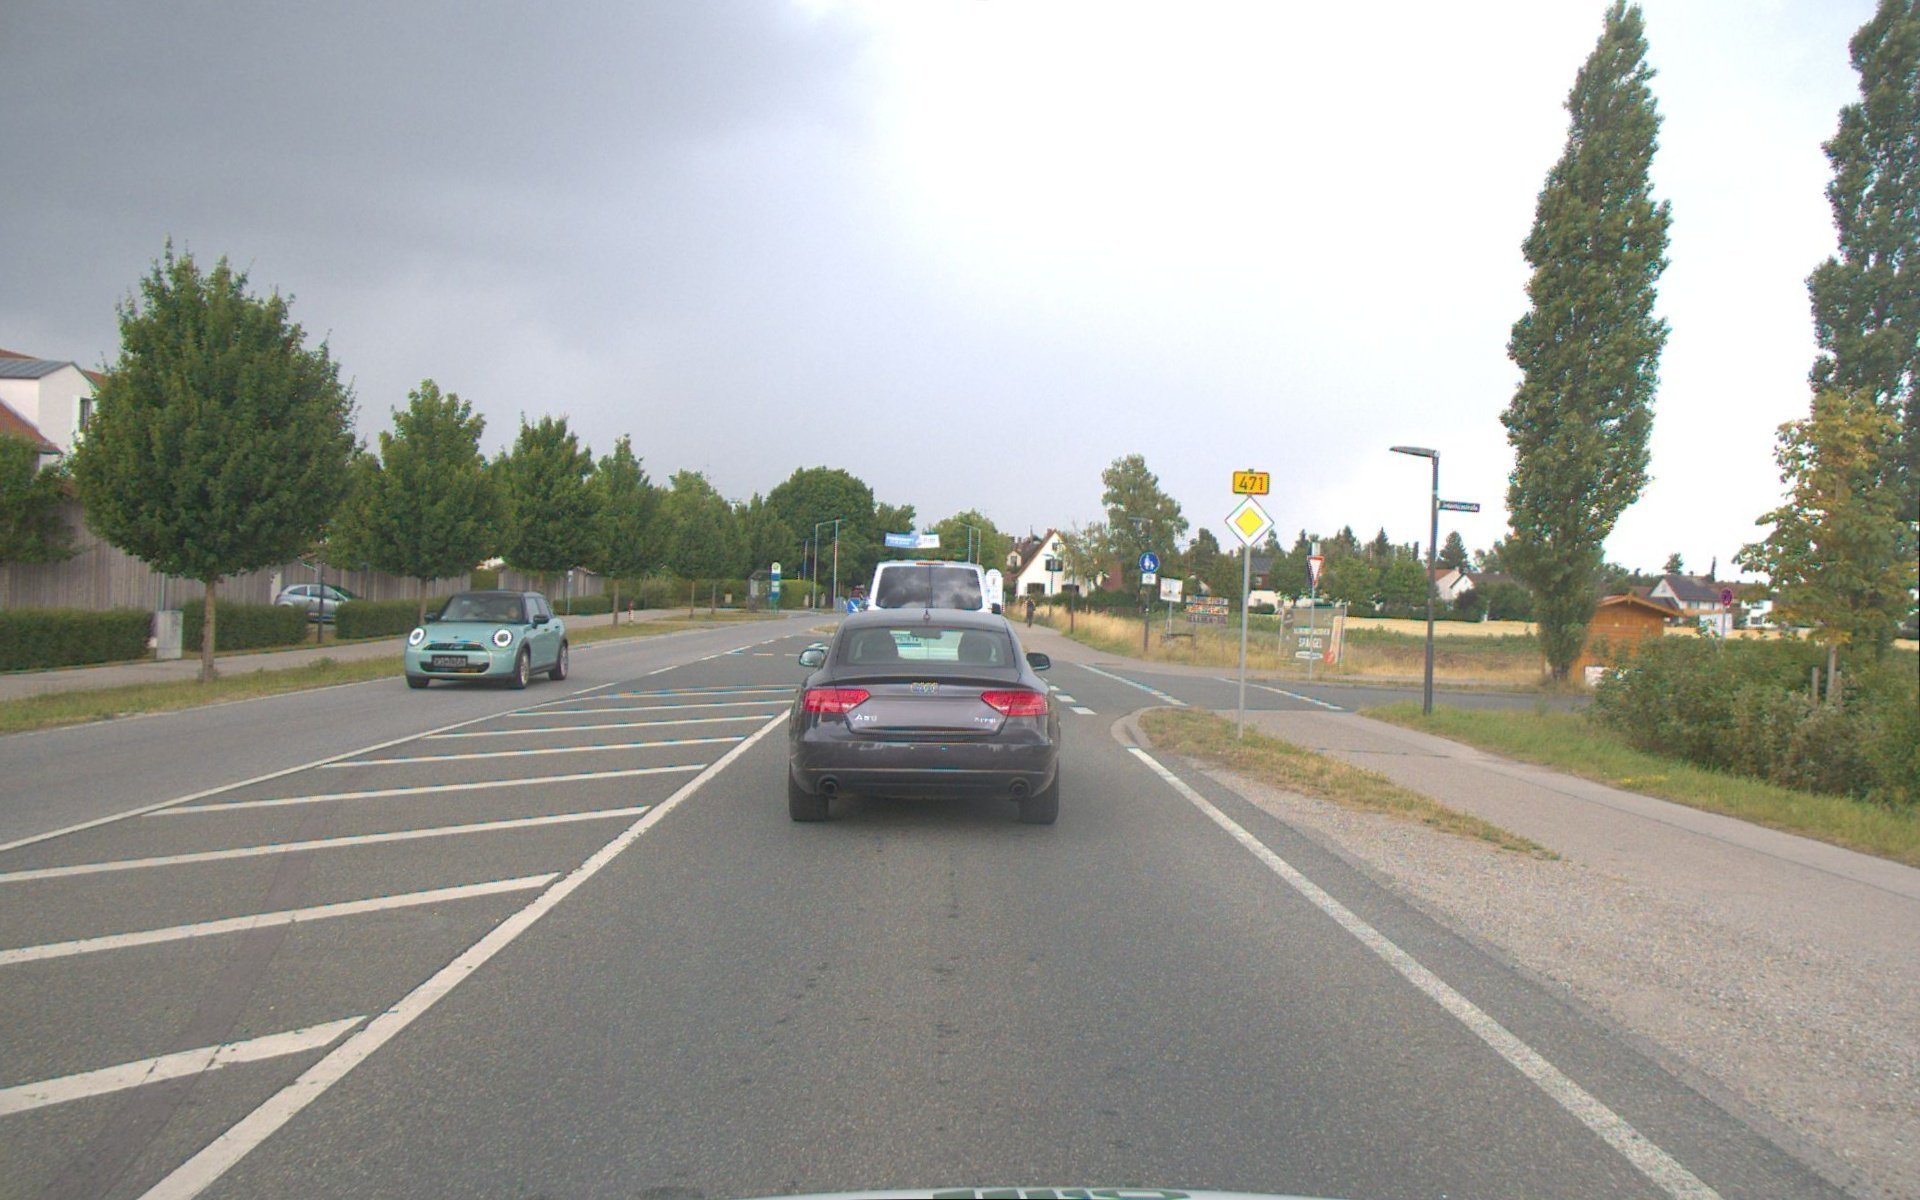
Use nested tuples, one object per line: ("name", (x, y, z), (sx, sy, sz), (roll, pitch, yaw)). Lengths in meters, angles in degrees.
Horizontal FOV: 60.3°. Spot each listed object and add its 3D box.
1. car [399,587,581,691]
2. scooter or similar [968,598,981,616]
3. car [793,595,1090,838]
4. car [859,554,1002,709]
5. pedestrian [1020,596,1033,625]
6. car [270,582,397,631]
("car", (-7.196, 0.544, 25.733), (1.734, 1.469, 3.999), (0, 0, -1))
("scooter or similar", (0.935, 0.434, 105.570), (0.831, 1.123, 1.094), (0, 0, -1))
("car", (-0.300, 0.688, 12.113), (1.790, 1.413, 4.383), (0, 1, -5))
("car", (-0.464, 0.398, 23.783), (1.789, 1.946, 3.998), (3, 0, -3))
("pedestrian", (3.609, 0.576, 89.737), (0.611, 1.551, 0.679), (0, 0, -1))
("car", (-23.531, 0.225, 62.236), (3.905, 1.583, 2.000), (3, 0, 0))
